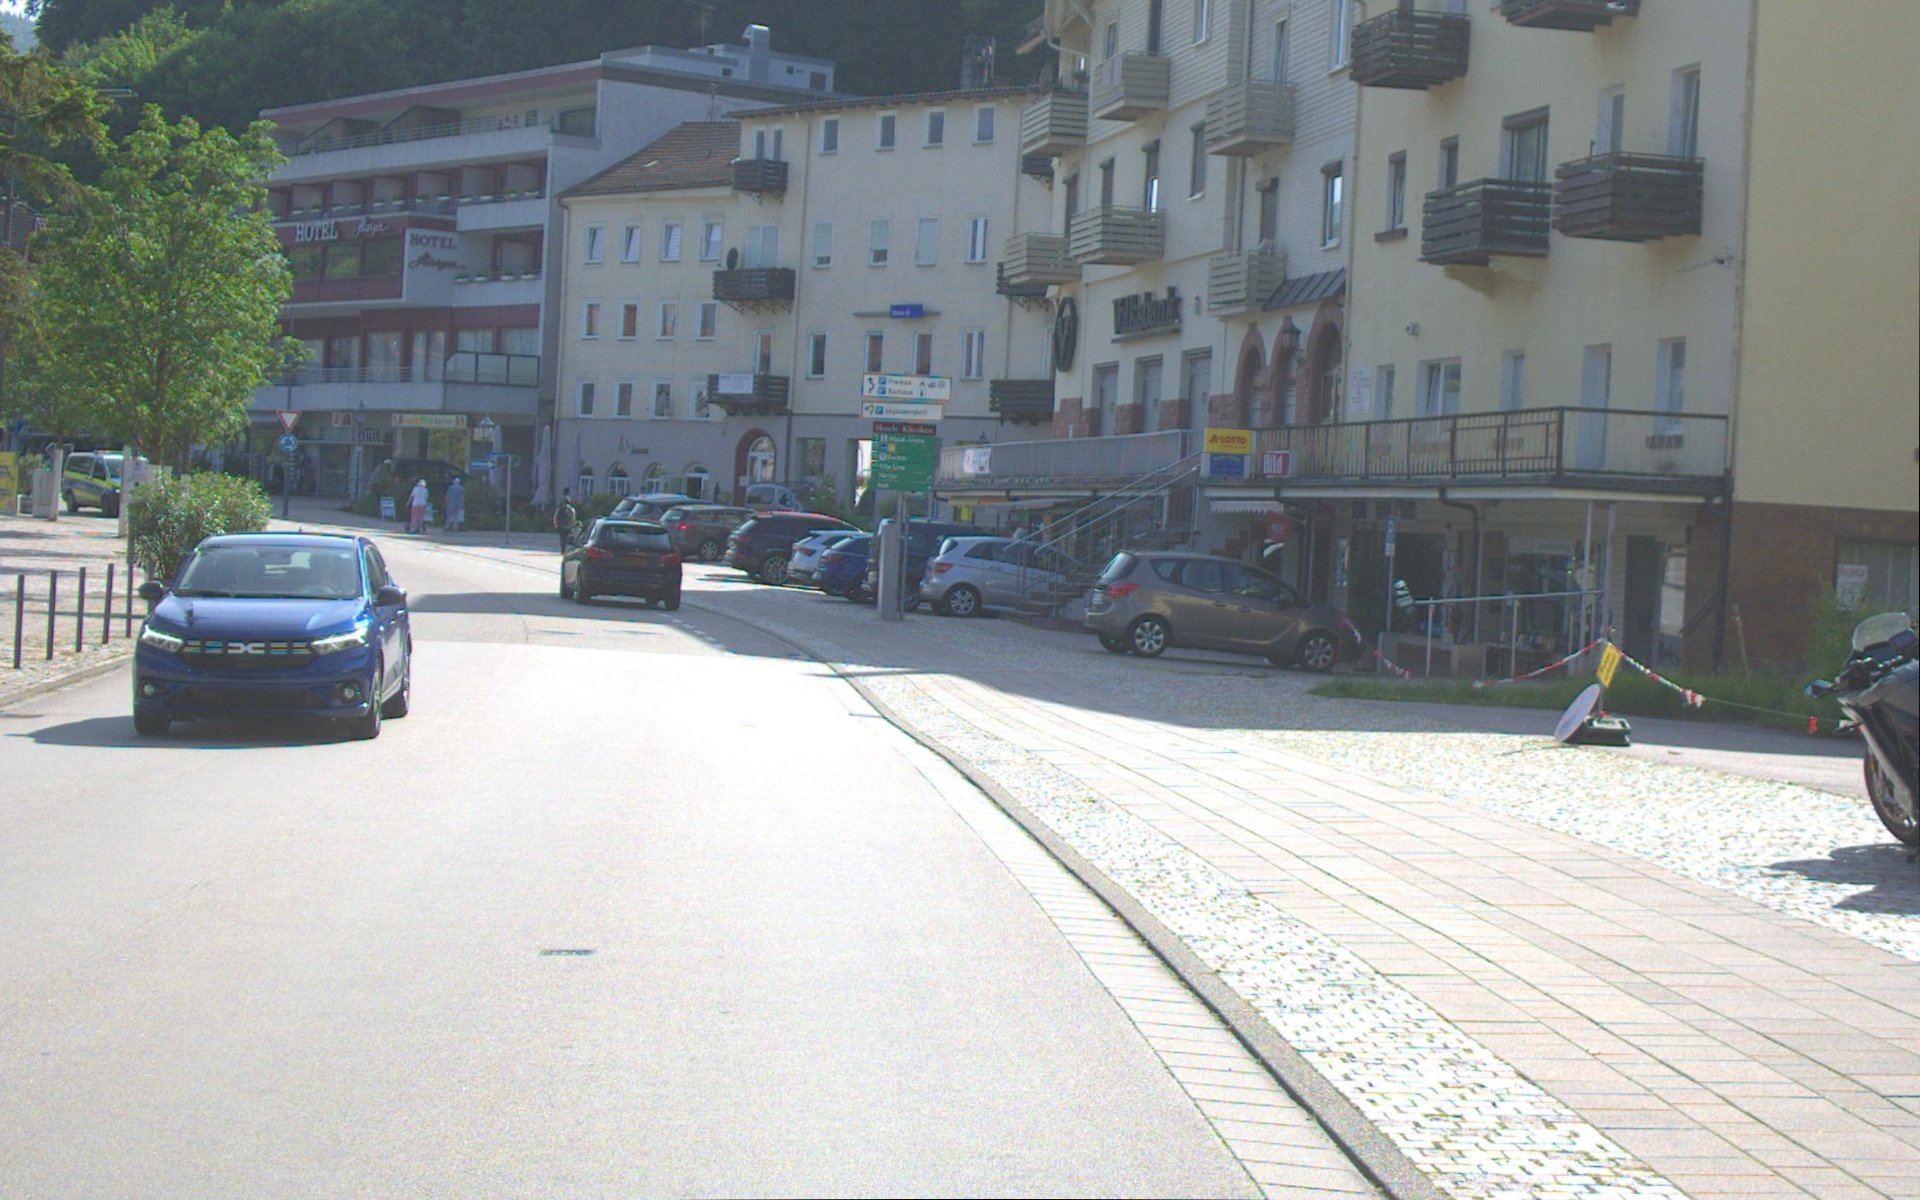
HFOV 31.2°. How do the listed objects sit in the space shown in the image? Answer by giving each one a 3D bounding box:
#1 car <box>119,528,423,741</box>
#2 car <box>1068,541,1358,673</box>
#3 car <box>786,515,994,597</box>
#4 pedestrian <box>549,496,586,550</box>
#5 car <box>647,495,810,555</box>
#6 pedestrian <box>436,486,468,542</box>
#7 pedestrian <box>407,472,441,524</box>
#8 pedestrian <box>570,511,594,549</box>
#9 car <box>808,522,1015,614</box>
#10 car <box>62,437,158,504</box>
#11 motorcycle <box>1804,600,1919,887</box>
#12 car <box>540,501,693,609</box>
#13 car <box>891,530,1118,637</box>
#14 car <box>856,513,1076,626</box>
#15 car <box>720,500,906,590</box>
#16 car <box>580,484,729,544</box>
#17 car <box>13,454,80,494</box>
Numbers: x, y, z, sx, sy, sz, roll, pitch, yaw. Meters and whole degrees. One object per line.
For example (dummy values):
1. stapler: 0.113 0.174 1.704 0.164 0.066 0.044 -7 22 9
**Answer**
1. car: -5.183 0.205 26.336 1.741 1.457 4.188 1 1 -4
2. car: 3.767 0.096 51.427 3.858 1.549 1.761 5 1 -12
3. car: -1.578 -0.981 76.677 4.355 1.456 1.773 5 0 -7
4. pedestrian: -10.742 -2.107 94.031 0.735 1.437 0.633 0 3 -39
5. car: -6.269 -2.029 93.241 4.009 1.511 1.773 0 4 -30
6. pedestrian: -16.122 -2.726 109.019 0.669 1.722 0.707 3 1 -32
7. pedestrian: -16.986 -3.239 108.958 0.757 1.588 0.628 3 1 -32
8. pedestrian: -10.375 -1.920 94.392 0.417 0.998 0.531 0 3 -39
9. car: -1.007 -0.662 70.302 3.908 1.456 1.736 5 1 -9
10. car: -26.348 -4.015 106.426 1.854 1.946 5.019 1 2 -26
11. motorcycle: 4.765 0.672 16.590 0.697 1.292 2.212 0 1 -4
12. car: -6.105 -0.820 60.827 1.726 1.569 3.755 4 3 -20
13. car: 0.826 -0.327 65.017 3.908 1.583 1.775 6 1 -10
14. car: 0.093 -0.607 67.714 3.908 1.798 1.858 6 0 -9
15. car: -3.496 -1.305 81.488 4.083 1.660 1.773 6 1 -9
16. car: -8.799 -2.475 98.993 3.861 1.607 1.773 0 4 -30
17. car: -42.097 -5.825 158.391 1.676 1.615 4.000 3 2 -34
